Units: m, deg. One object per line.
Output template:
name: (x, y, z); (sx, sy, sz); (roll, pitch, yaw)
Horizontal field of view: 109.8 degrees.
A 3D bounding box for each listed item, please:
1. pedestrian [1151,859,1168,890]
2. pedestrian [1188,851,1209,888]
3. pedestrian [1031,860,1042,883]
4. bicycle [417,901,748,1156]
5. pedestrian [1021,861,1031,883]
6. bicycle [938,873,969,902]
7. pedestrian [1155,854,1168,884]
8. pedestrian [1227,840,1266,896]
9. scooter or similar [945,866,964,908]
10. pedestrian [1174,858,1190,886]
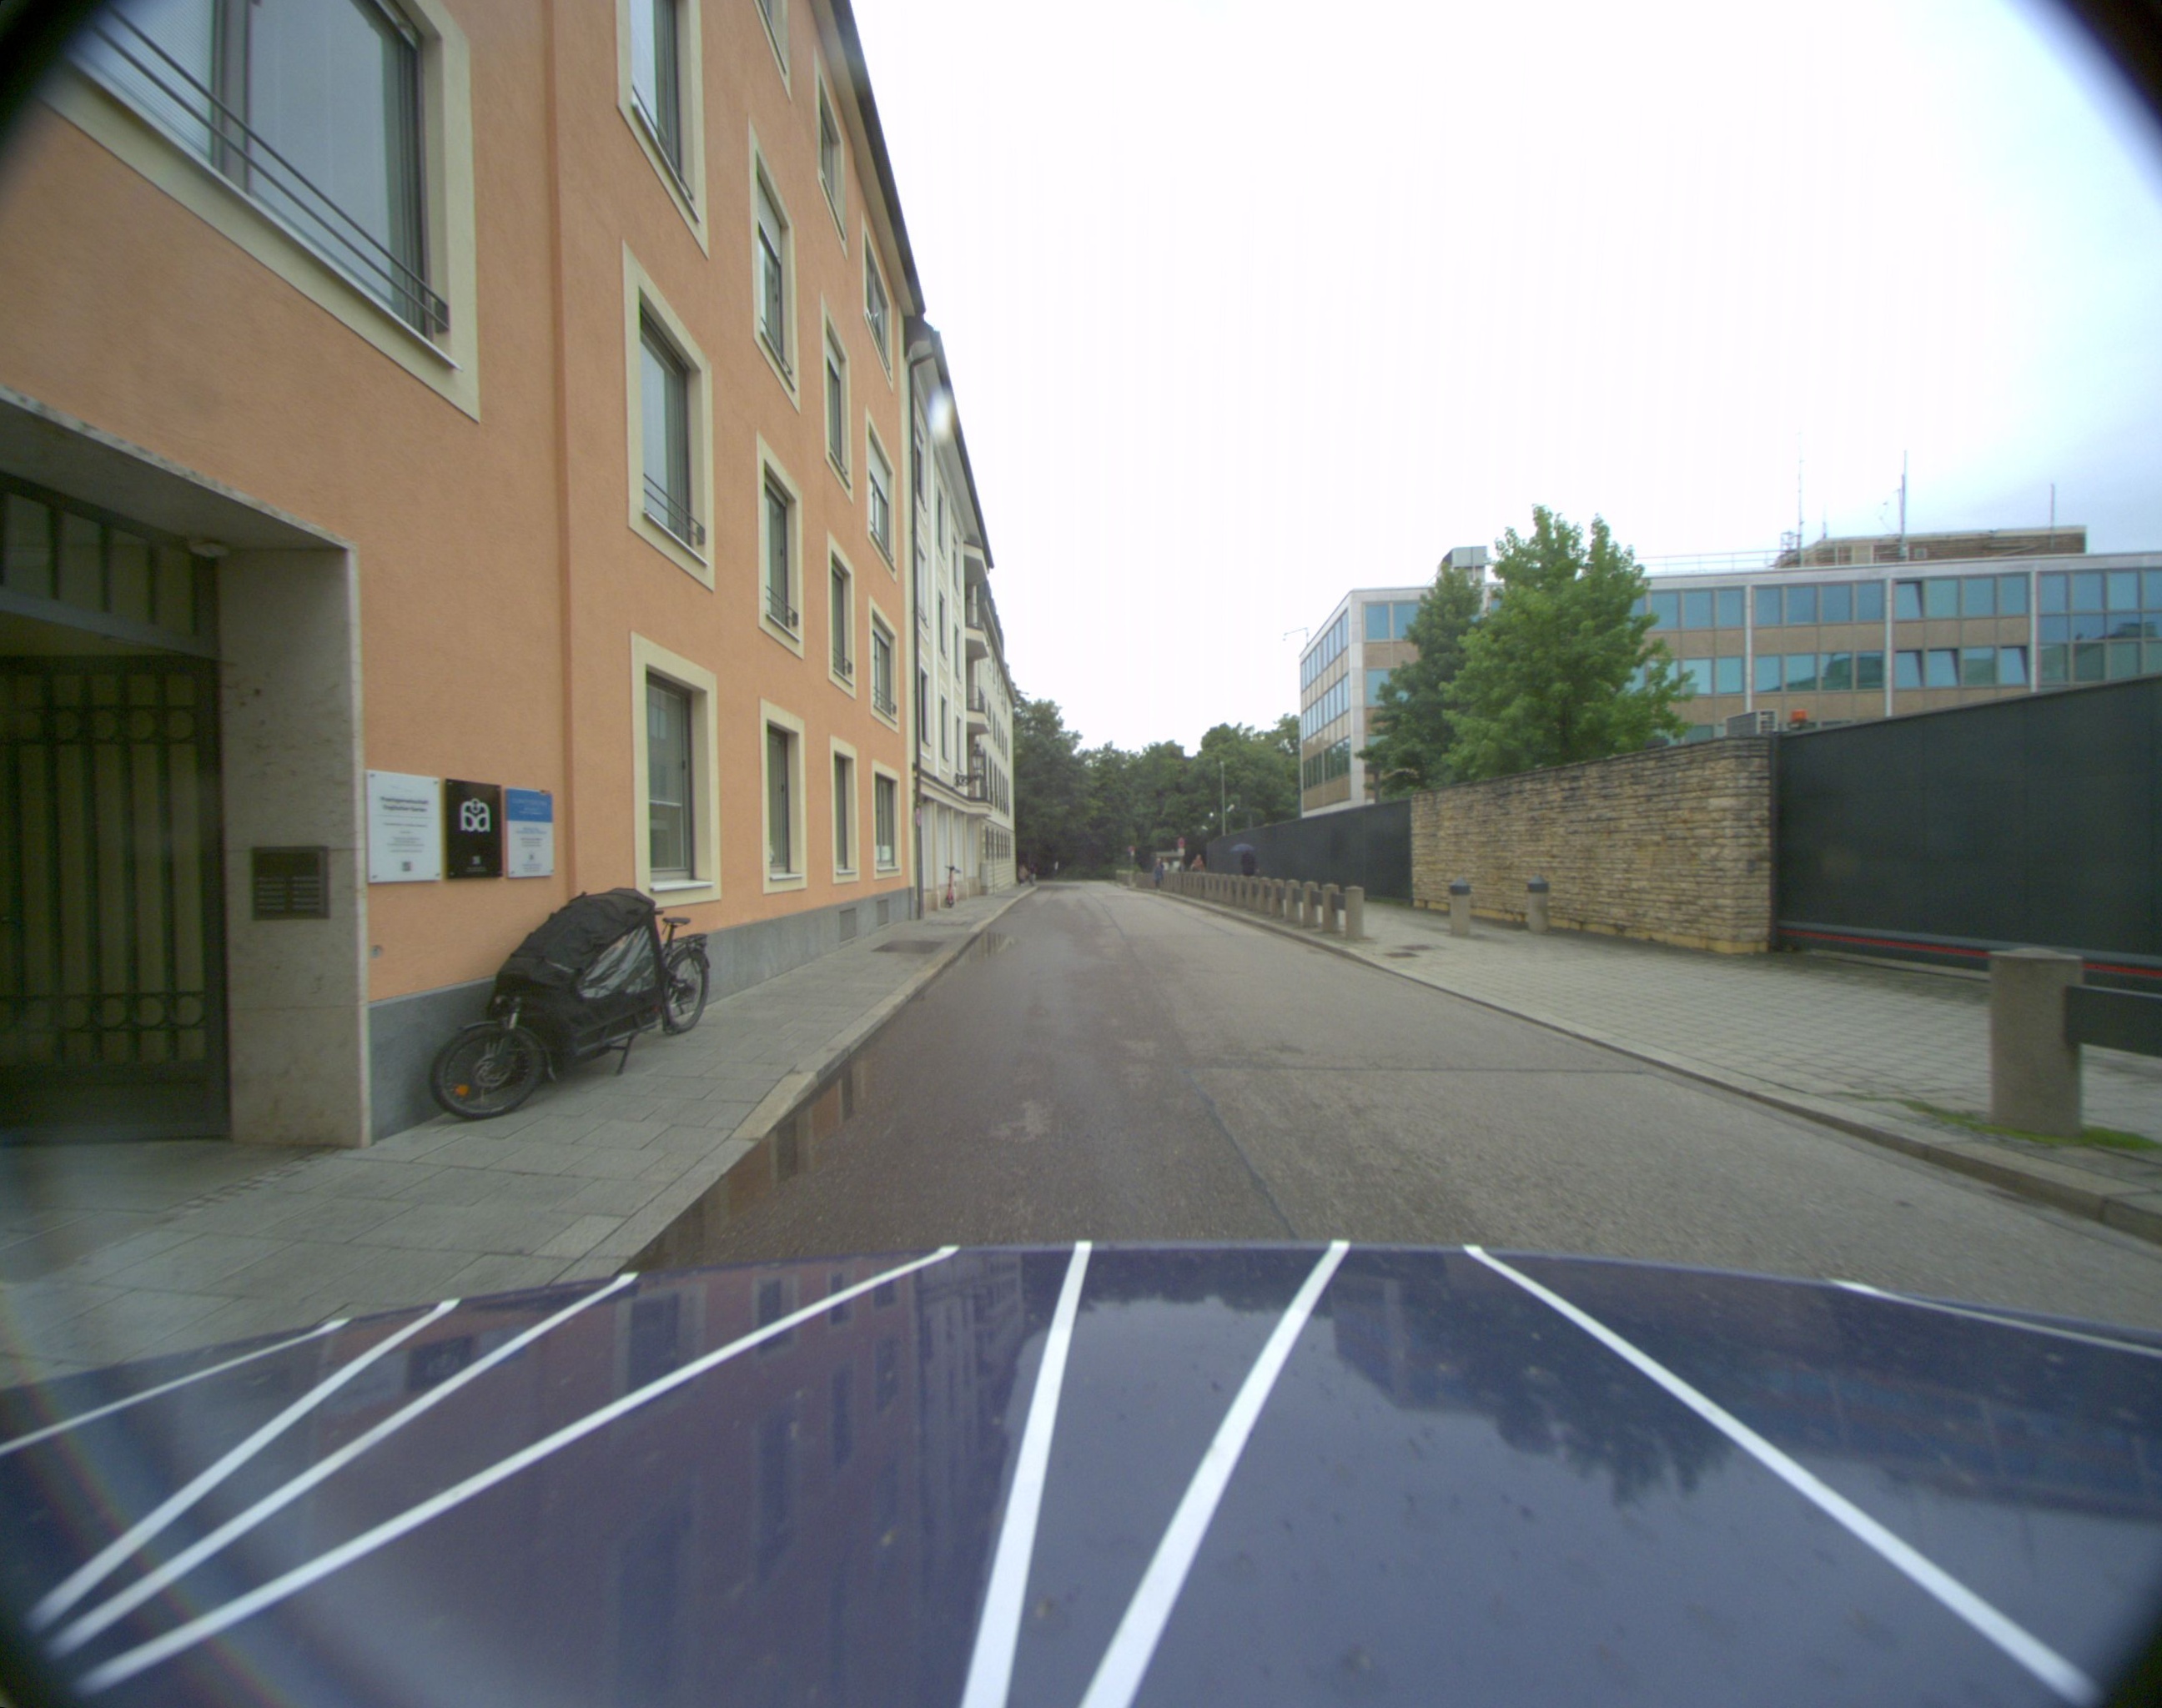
pedestrian: (3.825, 1.000, 37.096); (0.640, 1.458, 1.079); (-3, 0, -1)
pedestrian: (5.669, 0.755, 36.613); (0.826, 1.712, 0.906); (-3, 0, 4)
pedestrian: (-3.346, 1.347, 57.440); (0.753, 1.725, 0.853); (-1, 0, -3)
bicycle: (-3.262, 1.032, 5.364); (0.681, 1.233, 2.382); (3, 0, 1)
pedestrian: (-4.126, 1.352, 56.919); (0.753, 1.670, 0.655); (-1, 0, -3)
bicycle: (-4.505, 1.176, 26.940); (0.464, 0.988, 2.080); (0, -1, 9)
pedestrian: (4.766, 0.915, 45.198); (0.625, 1.758, 0.766); (-1, 0, -2)
pedestrian: (6.420, 0.540, 29.550); (1.226, 2.091, 1.116); (-1, 0, 1)
scooter or similar: (-3.978, 1.034, 23.854); (0.466, 1.251, 1.275); (1, 0, -15)
pedestrian: (5.722, 1.003, 42.964); (0.779, 1.531, 0.933); (-3, 0, 7)
